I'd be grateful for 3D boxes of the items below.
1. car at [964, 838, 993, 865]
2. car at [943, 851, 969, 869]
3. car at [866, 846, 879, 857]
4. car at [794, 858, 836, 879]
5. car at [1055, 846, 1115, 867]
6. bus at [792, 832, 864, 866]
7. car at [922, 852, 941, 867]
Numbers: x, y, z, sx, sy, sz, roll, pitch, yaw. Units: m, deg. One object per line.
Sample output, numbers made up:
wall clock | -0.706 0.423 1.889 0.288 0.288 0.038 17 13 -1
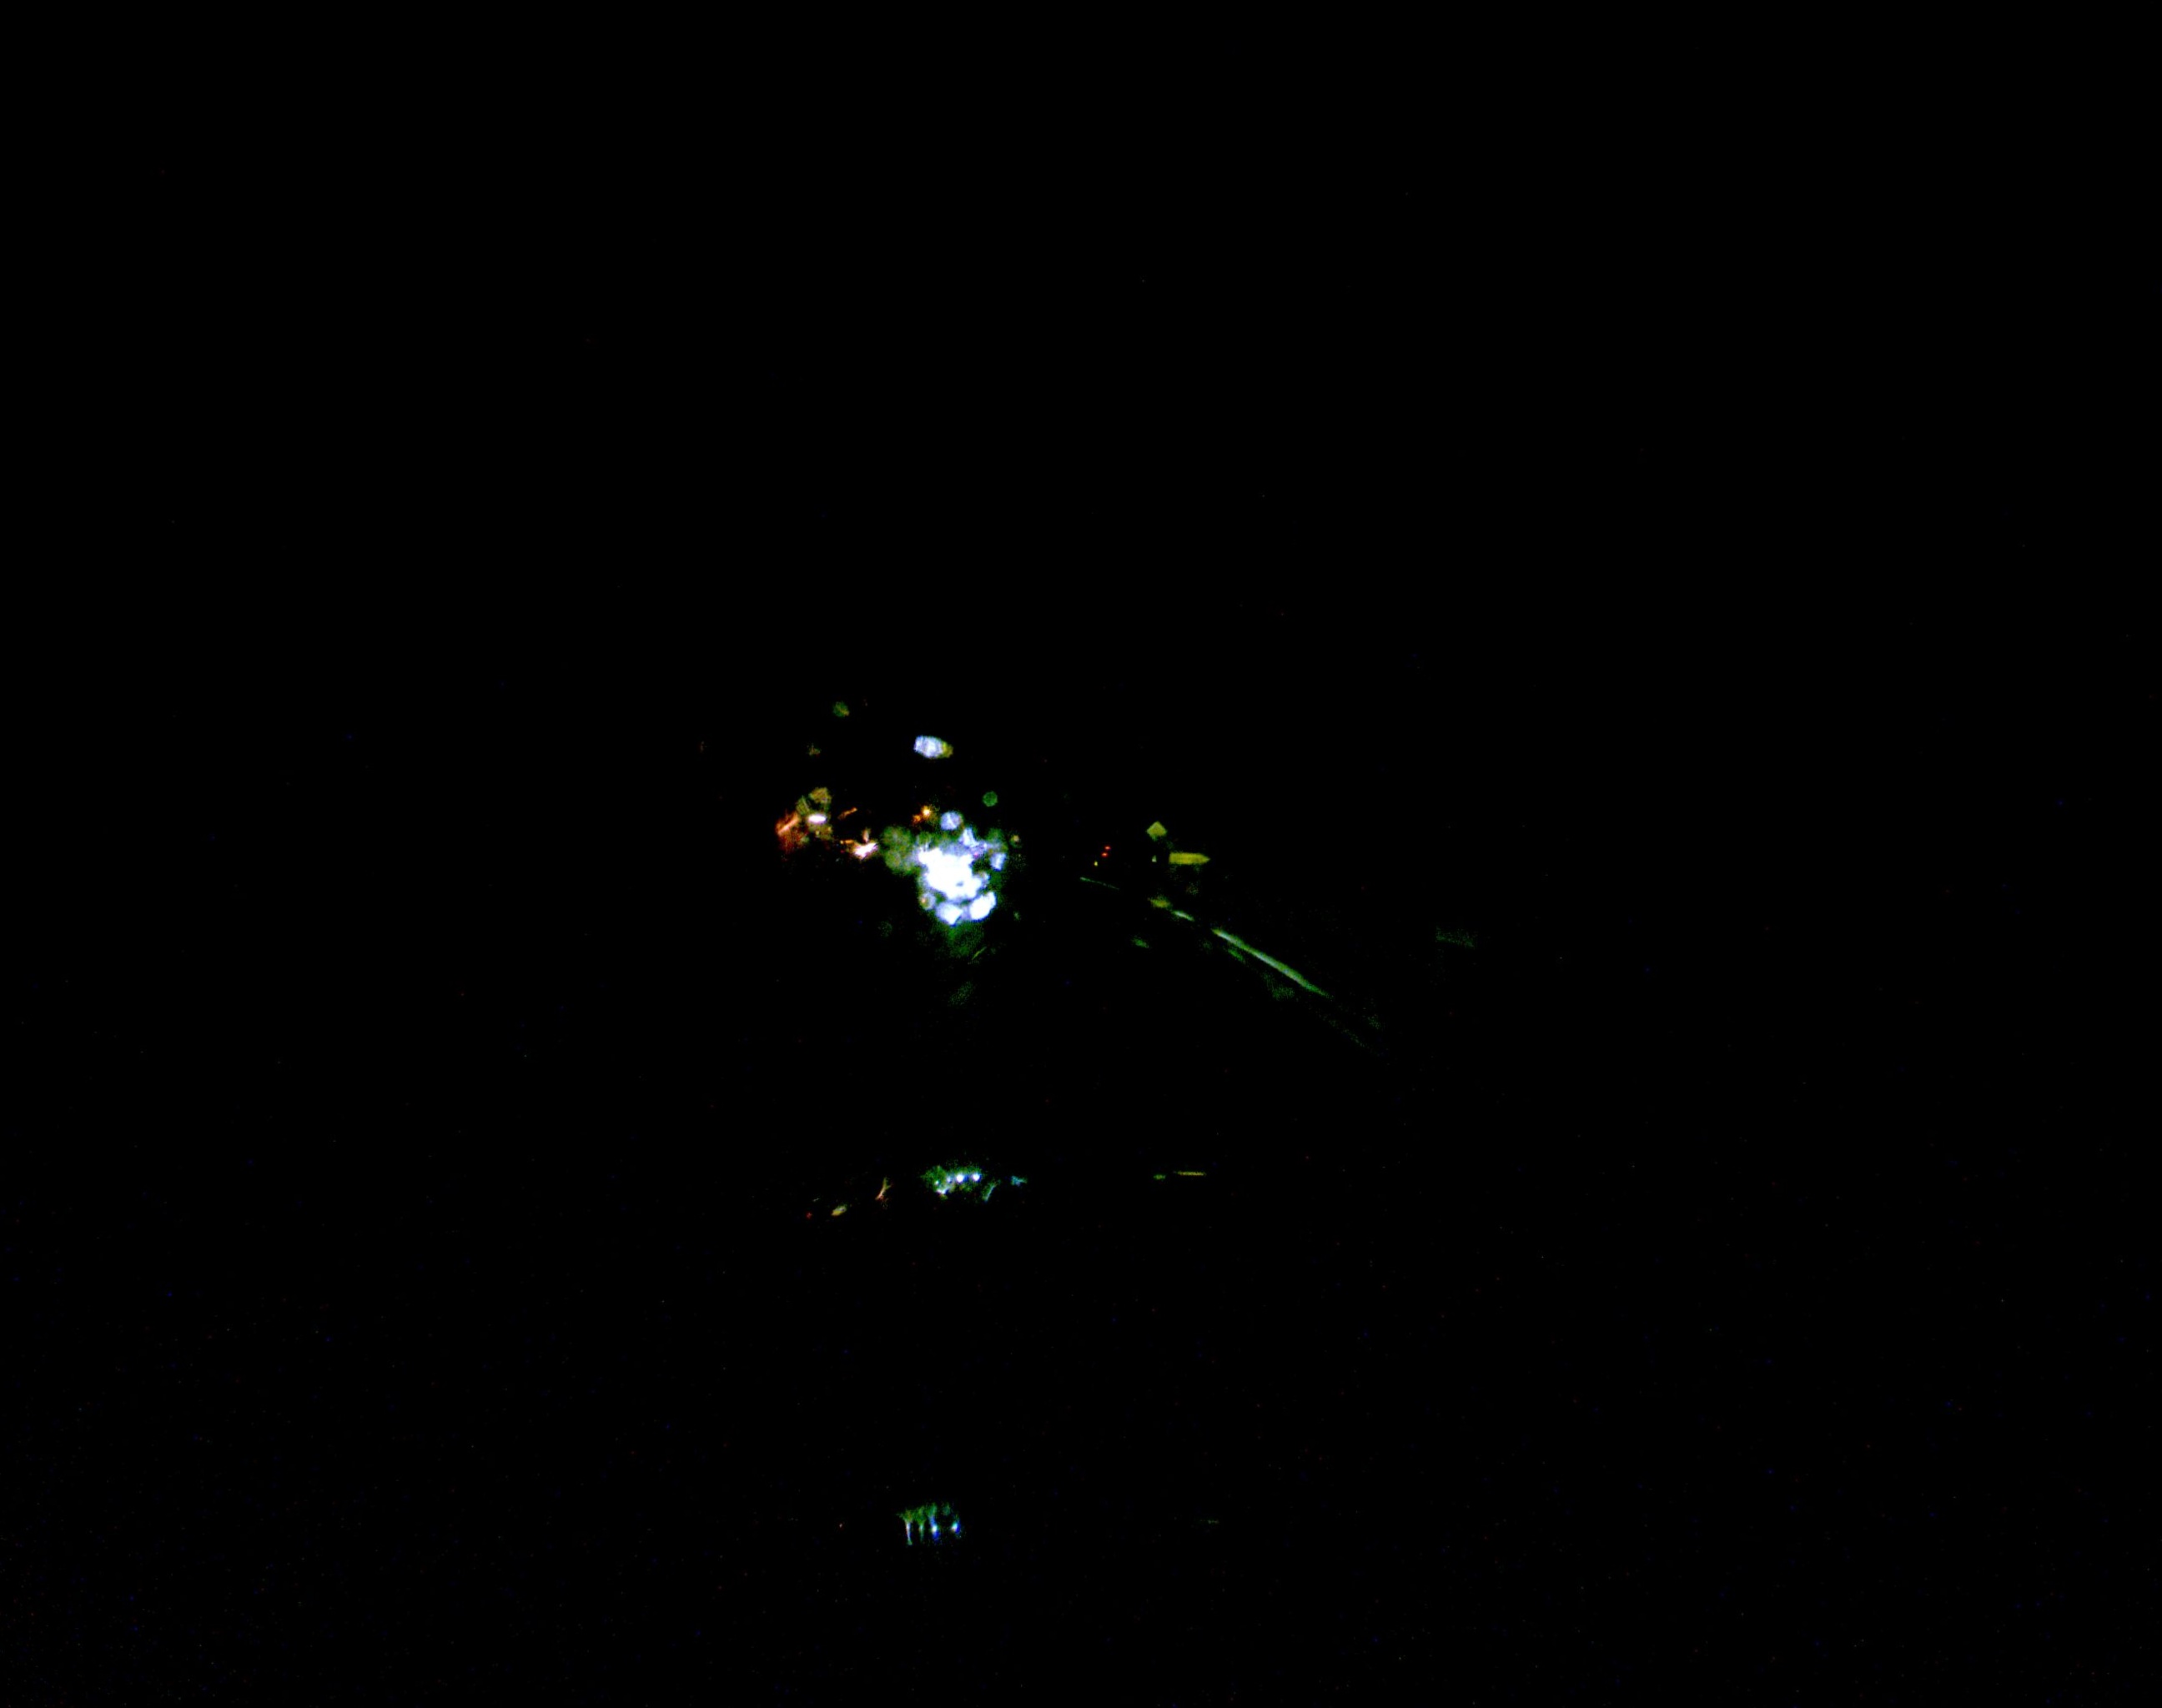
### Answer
car | -10.745 -0.350 85.173 2.541 2.497 5.692 -1 3 -12
car | -11.054 0.538 71.952 1.958 1.522 4.380 0 -1 -13
car | -32.421 -0.455 126.653 1.700 1.599 3.779 -2 1 -17
car | -21.198 1.107 65.038 1.681 1.398 4.155 -4 1 4
car | 0.338 0.213 68.255 4.713 1.691 1.973 -1 -1 32
bus | -30.595 -0.630 98.028 2.919 3.868 12.901 -2 1 -43
car | -15.967 0.576 86.709 1.715 1.476 3.849 0 1 -15
